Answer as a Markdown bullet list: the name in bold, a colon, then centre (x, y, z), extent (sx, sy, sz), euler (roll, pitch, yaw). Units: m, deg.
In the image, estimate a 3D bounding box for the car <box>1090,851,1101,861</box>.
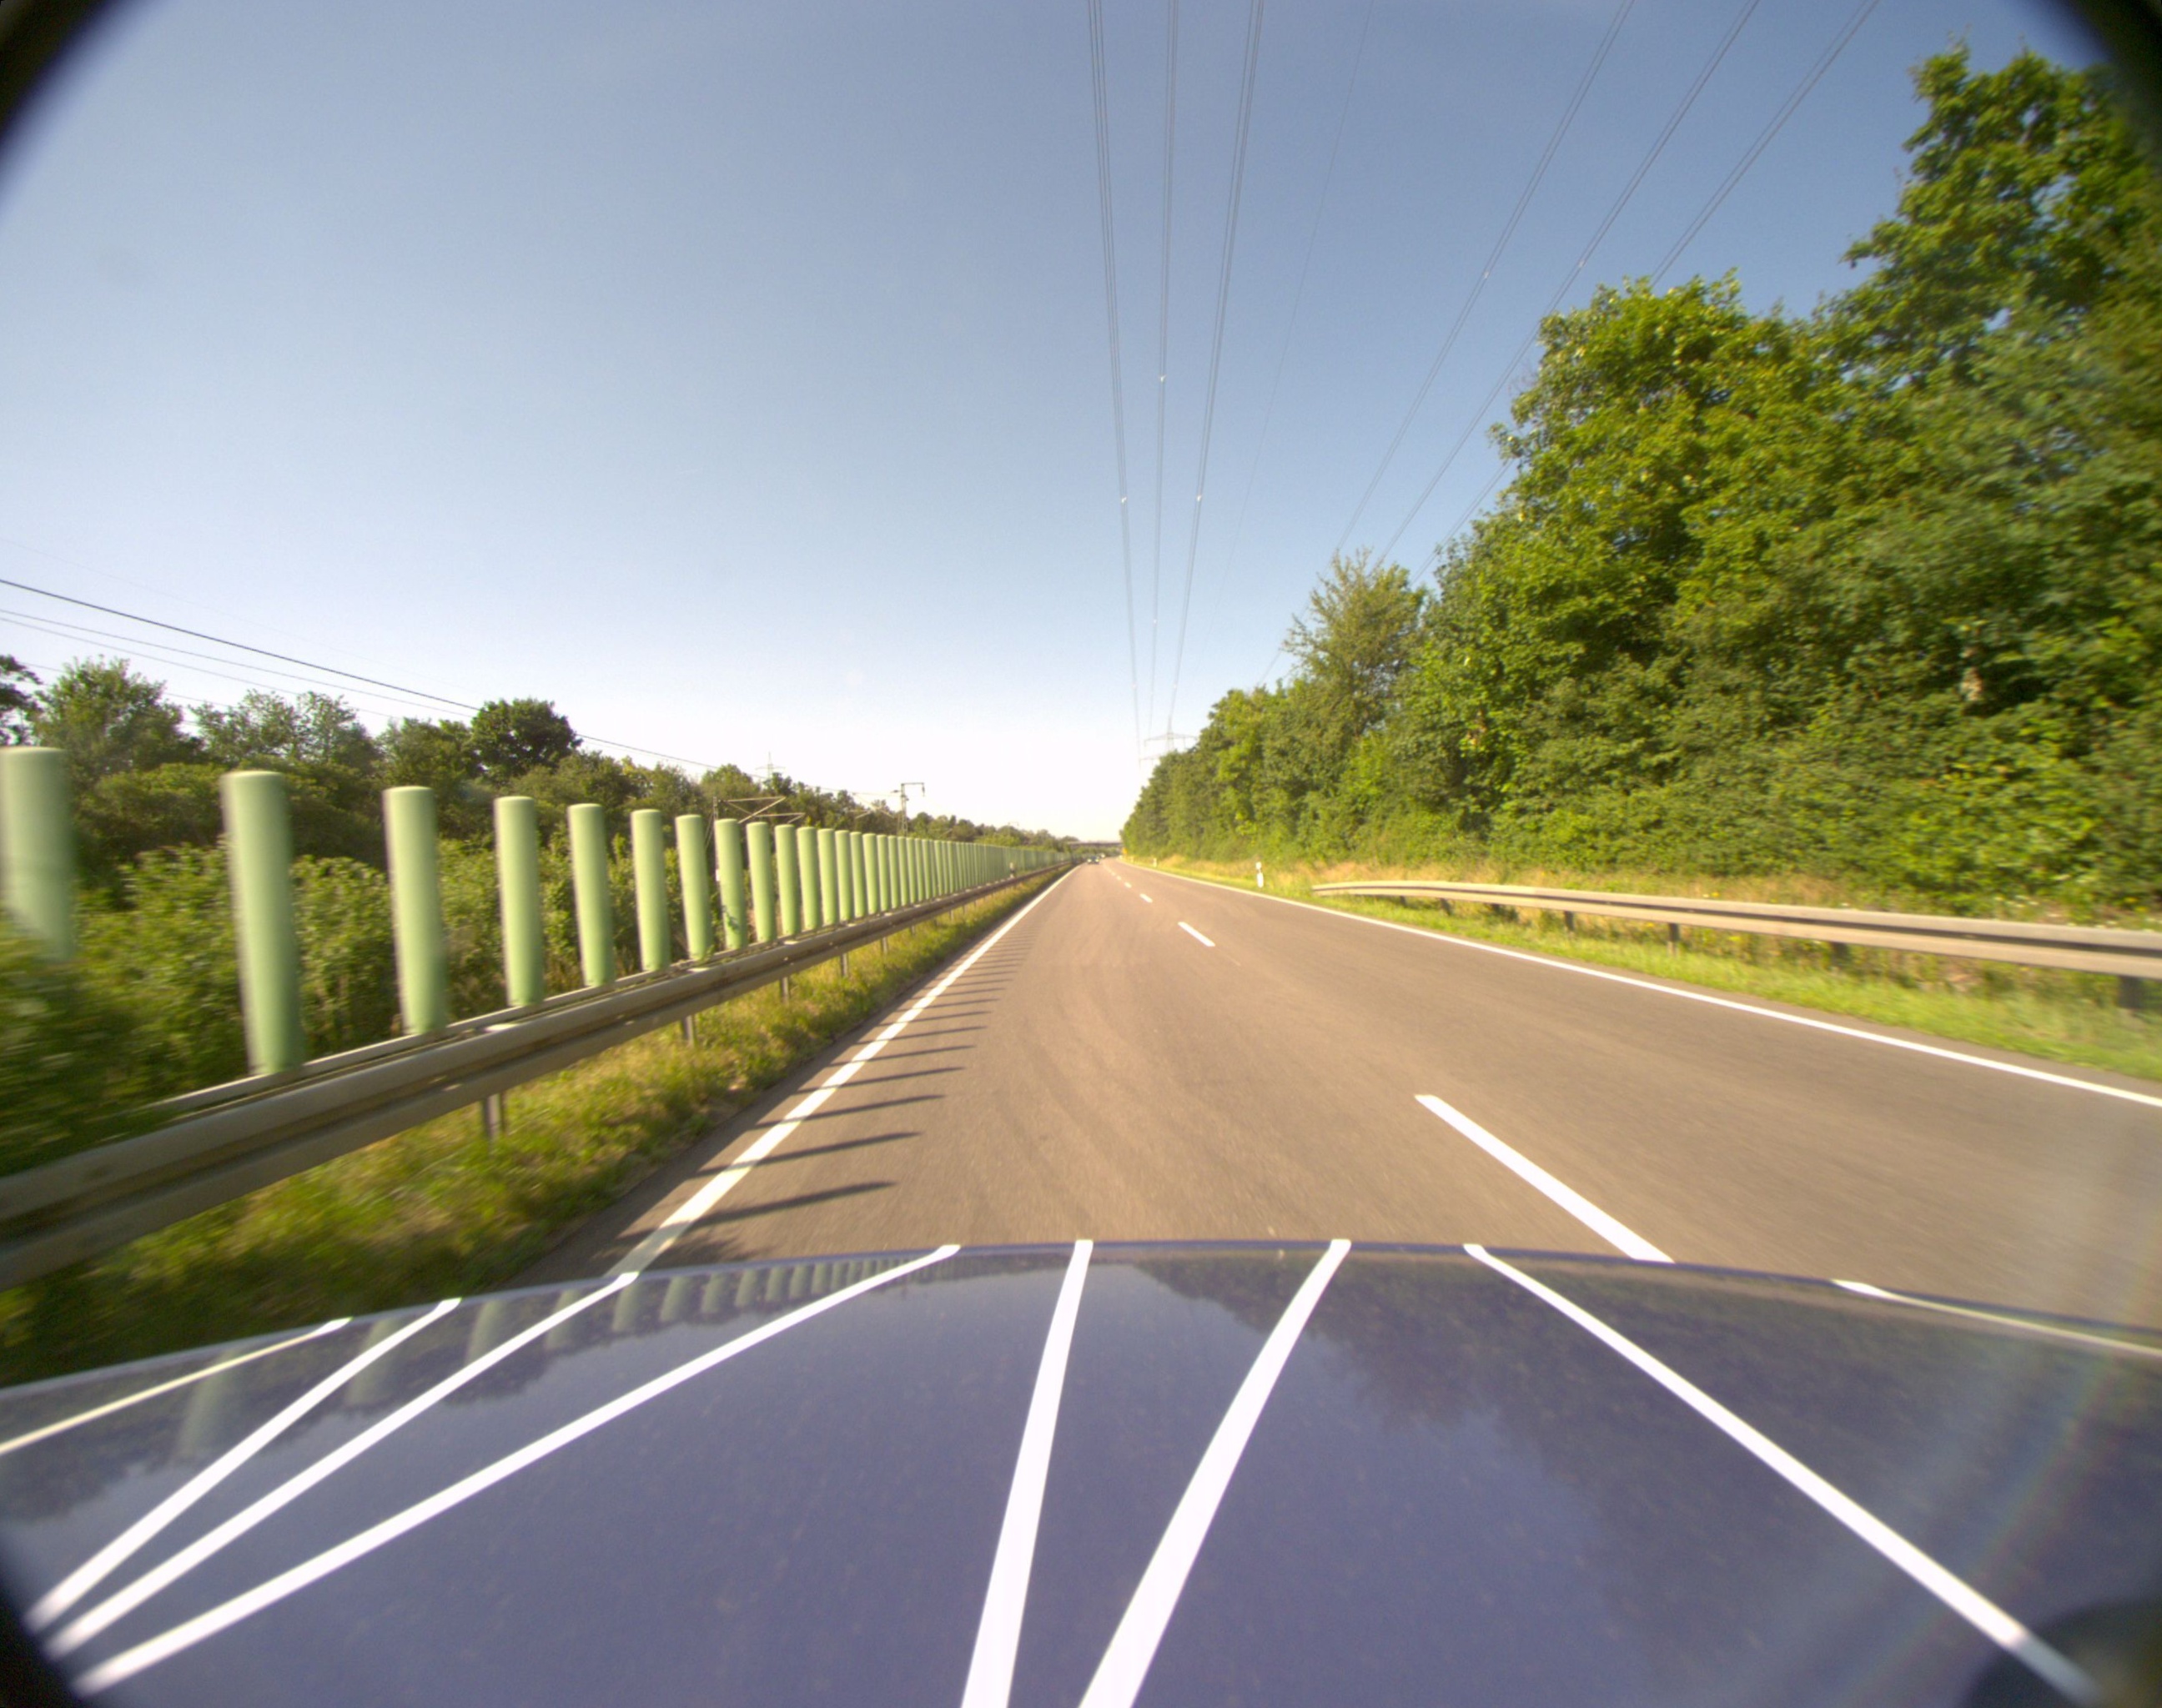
- **car**: centre (2.471, 0.291, 127.886), extent (1.787, 1.550, 4.000), euler (-1, 0, 2)
